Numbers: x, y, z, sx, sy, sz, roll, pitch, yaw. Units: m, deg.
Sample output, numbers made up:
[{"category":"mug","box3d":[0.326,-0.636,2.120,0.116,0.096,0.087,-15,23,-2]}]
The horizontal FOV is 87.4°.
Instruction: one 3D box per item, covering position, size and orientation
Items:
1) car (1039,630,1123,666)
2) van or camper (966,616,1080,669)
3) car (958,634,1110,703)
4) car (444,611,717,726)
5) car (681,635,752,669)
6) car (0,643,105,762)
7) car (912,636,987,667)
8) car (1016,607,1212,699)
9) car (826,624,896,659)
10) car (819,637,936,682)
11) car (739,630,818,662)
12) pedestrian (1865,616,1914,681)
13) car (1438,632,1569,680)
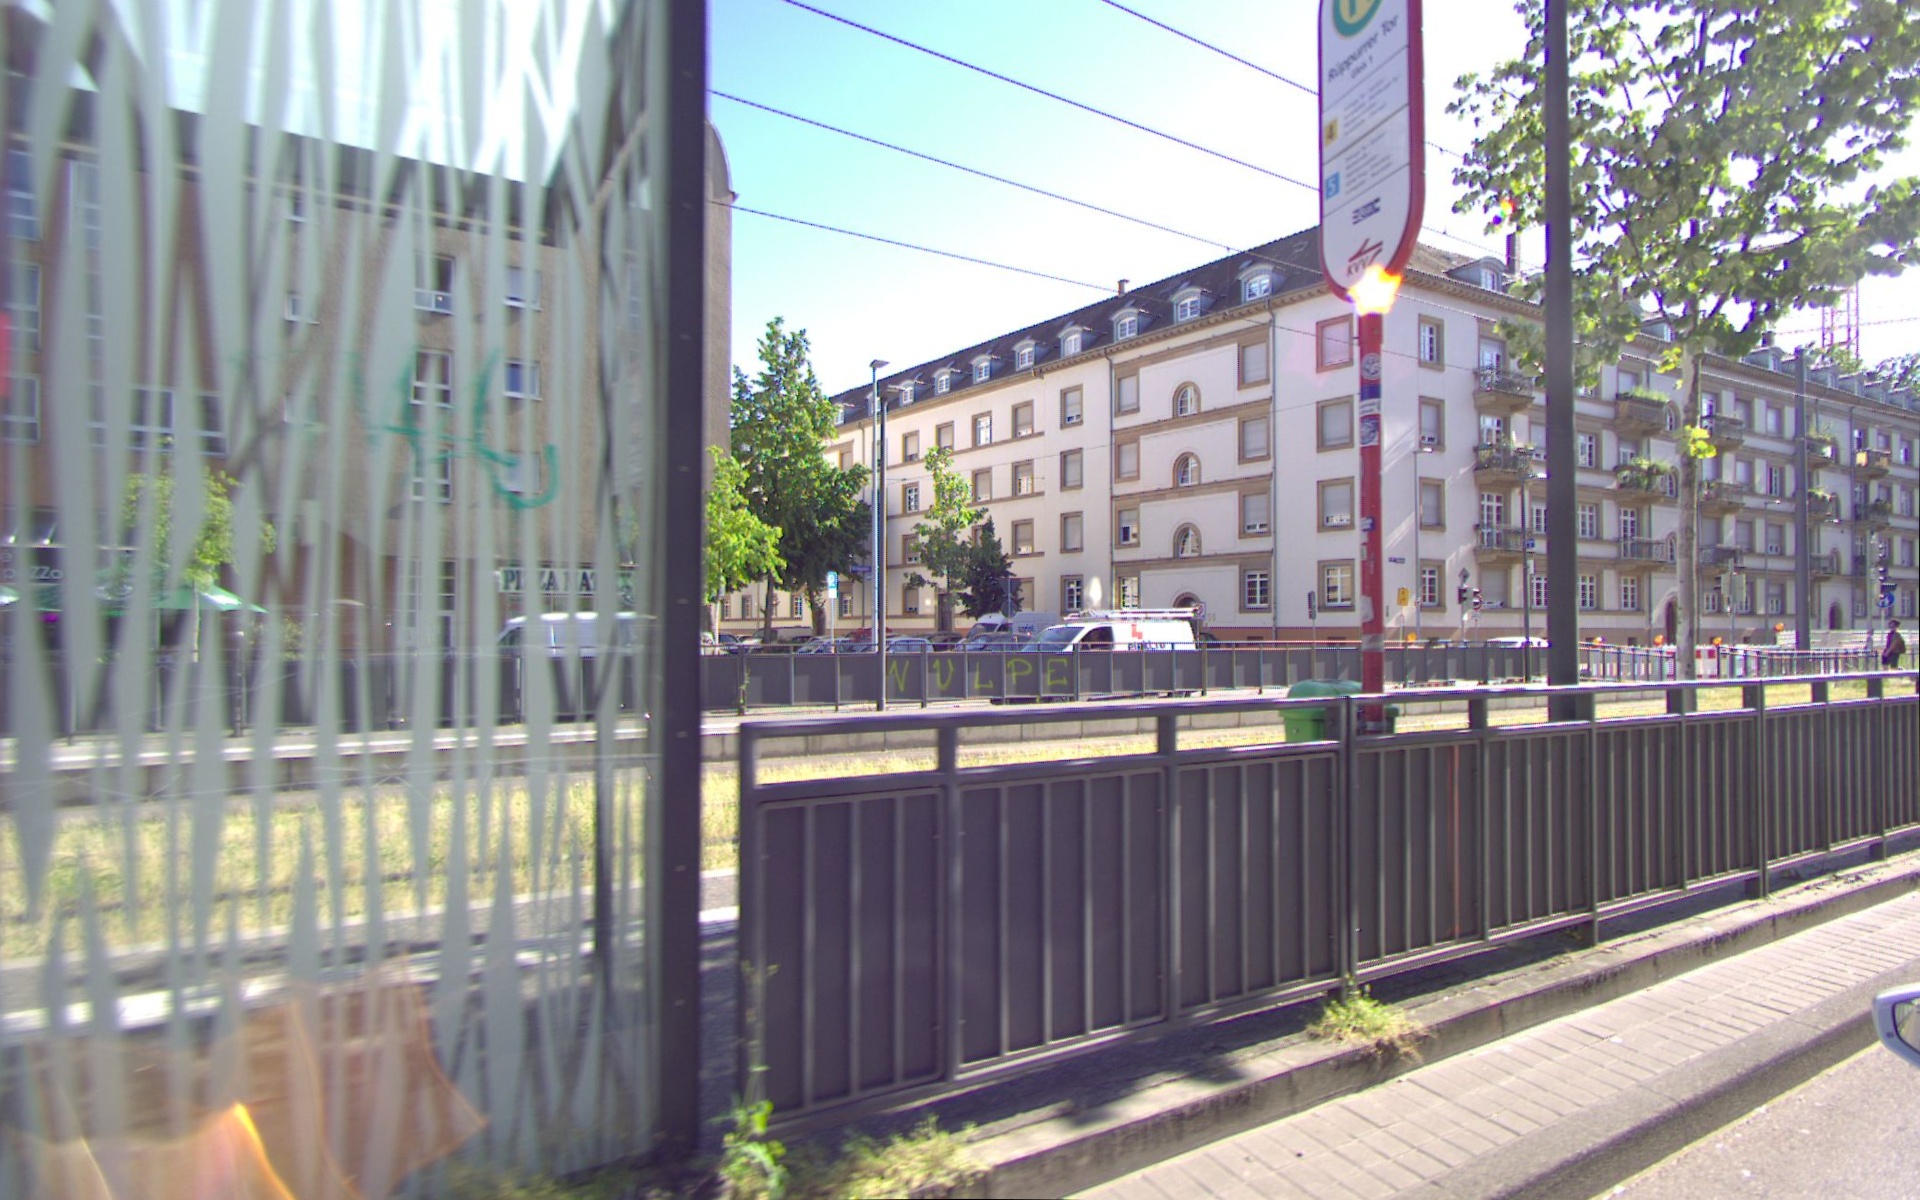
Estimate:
[{"category":"car","box3d":[5.375,2.101,44.514,3.636,1.542,1.672,1,-2,-40]},{"category":"van or camper","box3d":[3.123,2.031,48.777,5.912,2.432,1.976,2,-2,-42]},{"category":"car","box3d":[2.079,1.837,27.991,3.955,1.782,1.806,1,-2,-32]},{"category":"car","box3d":[-8.542,1.471,22.933,5.564,2.401,1.989,1,-1,-23]},{"category":"car","box3d":[-12.759,2.672,52.597,1.942,1.684,3.950,1,-2,-43]},{"category":"car","box3d":[-12.624,1.180,11.603,3.916,1.303,1.686,2,-1,-32]},{"category":"car","box3d":[-0.517,2.622,51.379,3.636,1.484,1.672,1,-2,-40]},{"category":"car","box3d":[3.413,1.130,22.065,4.043,1.818,1.810,2,-1,-32]},{"category":"car","box3d":[-5.834,2.432,59.434,3.911,1.953,1.672,1,-2,-40]},{"category":"car","box3d":[-2.901,2.068,35.826,3.974,1.470,1.762,2,-2,-45]},{"category":"car","box3d":[-12.070,3.043,66.966,4.832,2.034,1.920,1,-2,-40]},{"category":"pedestrian","box3d":[26.739,1.381,28.914,0.853,1.804,0.907,0,-1,32]},{"category":"car","box3d":[16.145,1.638,29.791,3.916,1.303,1.686,2,-1,-32]}]
